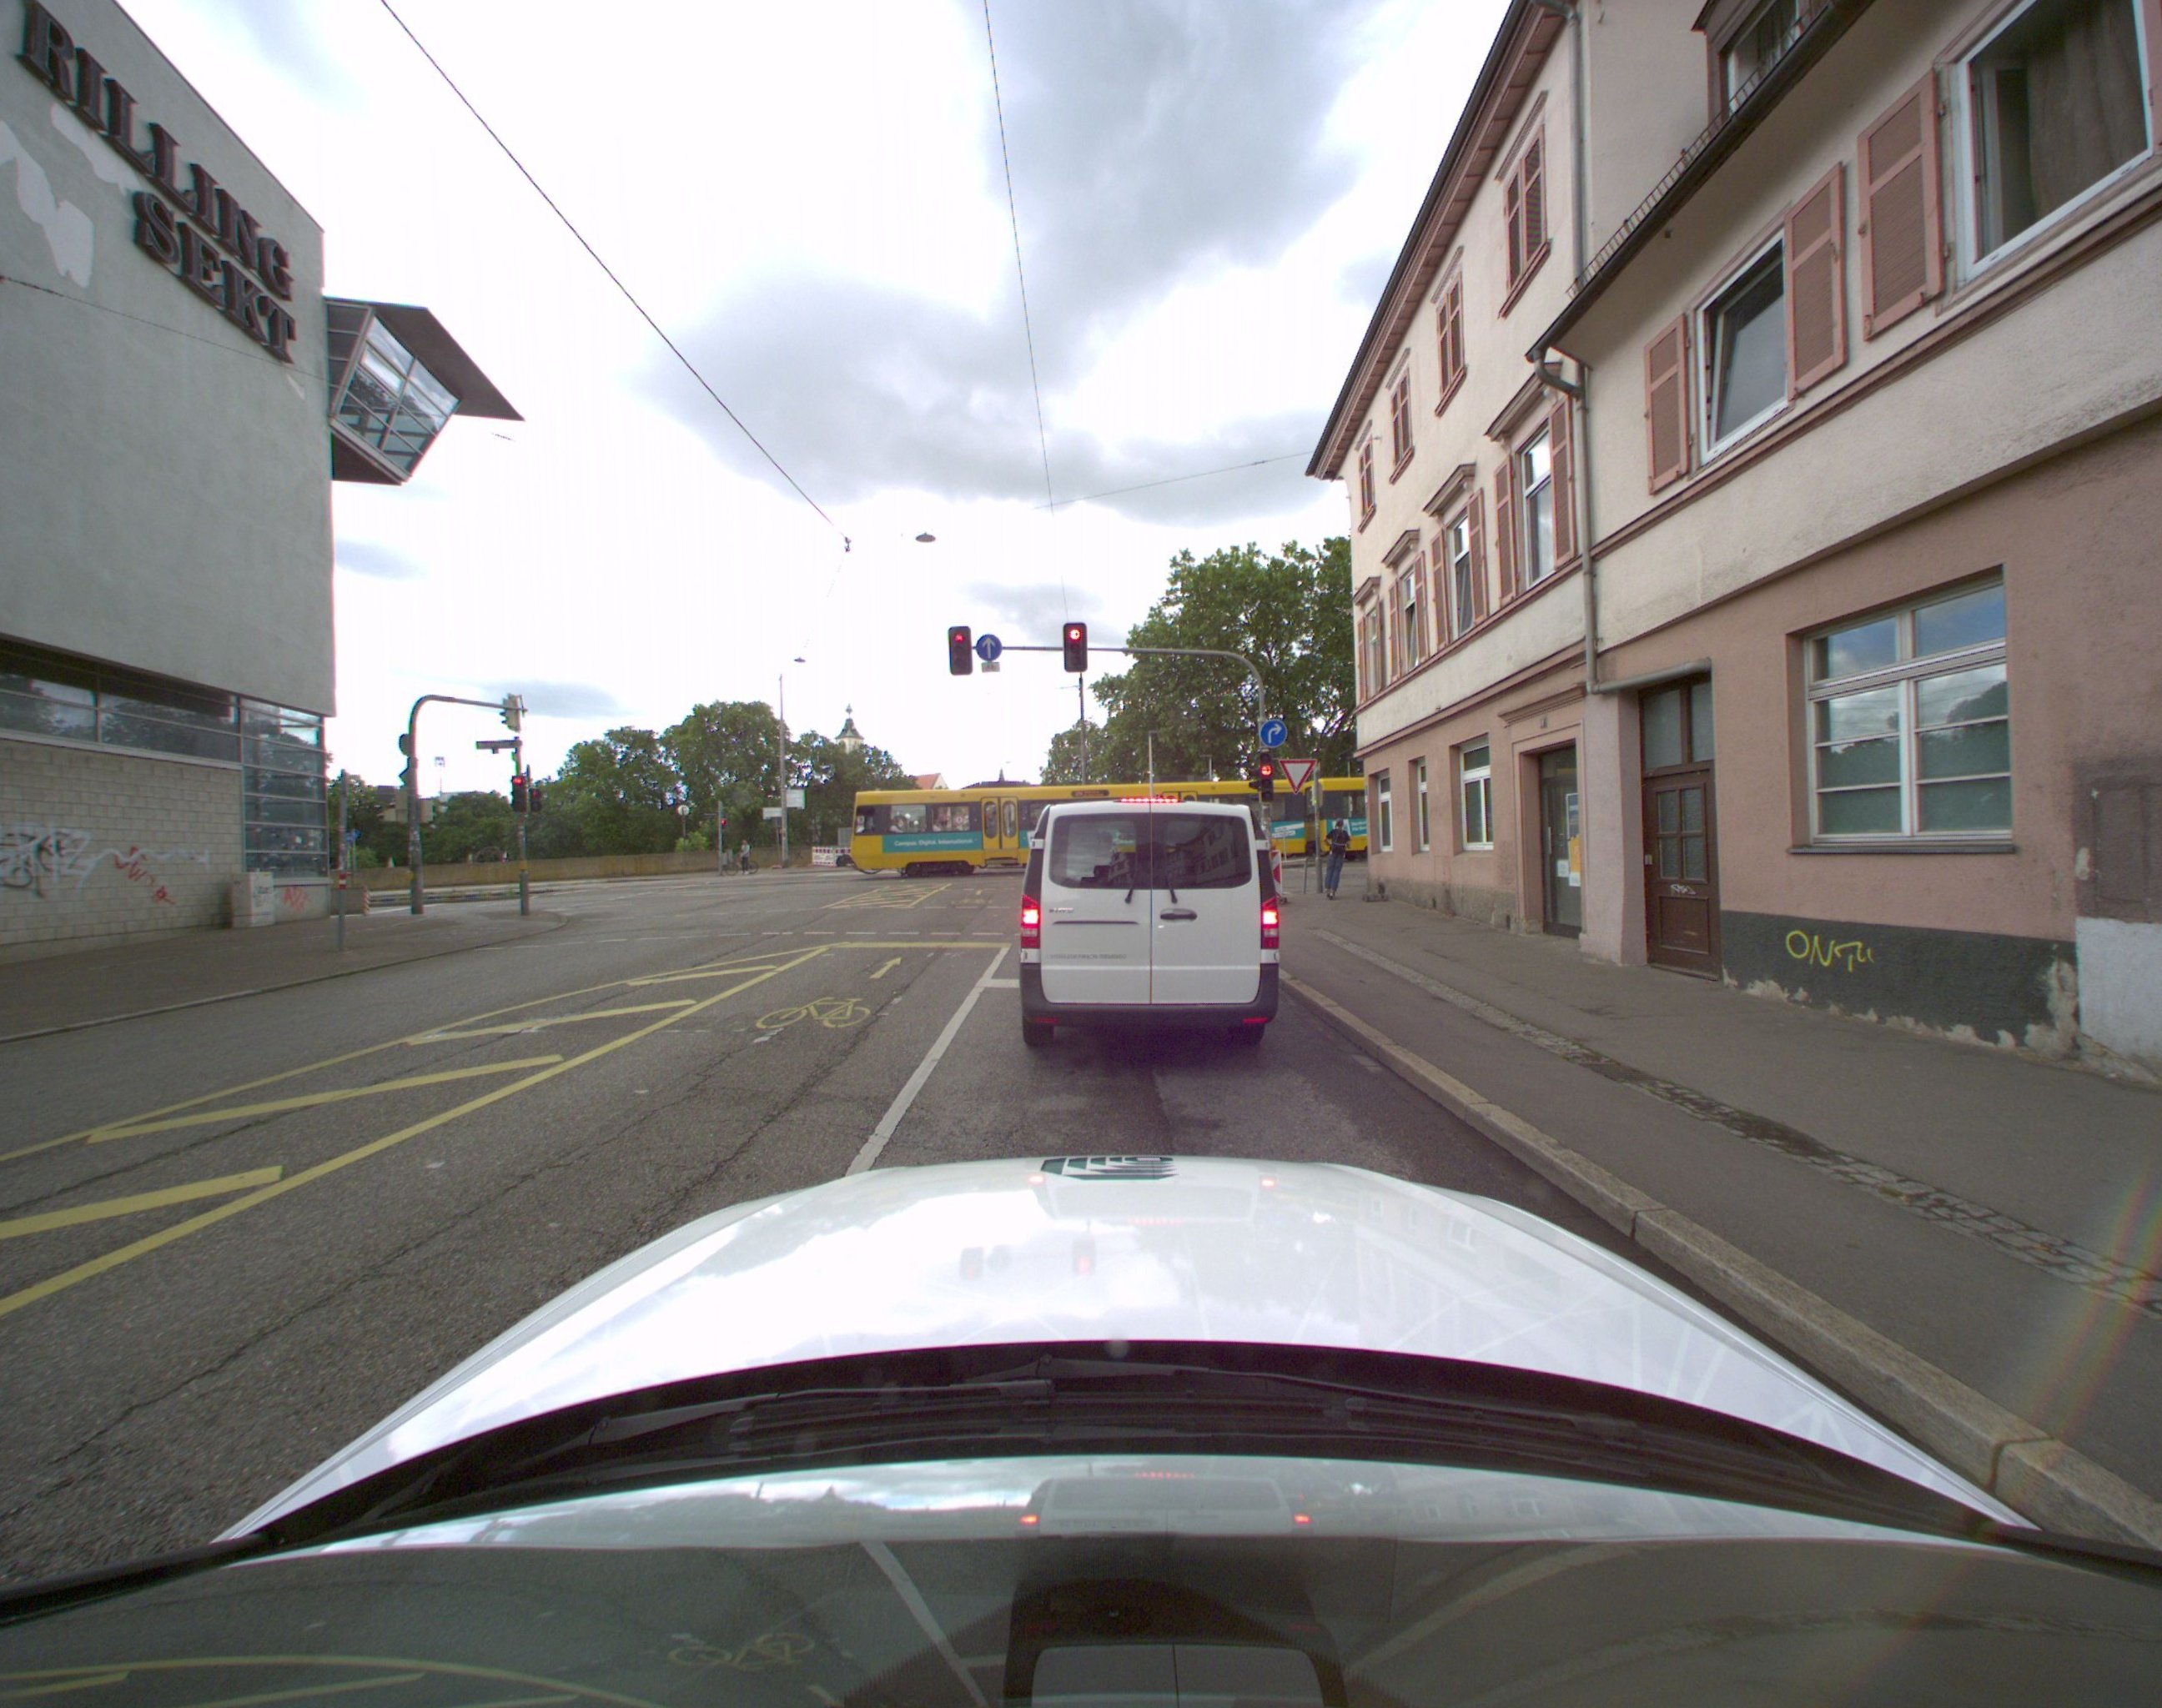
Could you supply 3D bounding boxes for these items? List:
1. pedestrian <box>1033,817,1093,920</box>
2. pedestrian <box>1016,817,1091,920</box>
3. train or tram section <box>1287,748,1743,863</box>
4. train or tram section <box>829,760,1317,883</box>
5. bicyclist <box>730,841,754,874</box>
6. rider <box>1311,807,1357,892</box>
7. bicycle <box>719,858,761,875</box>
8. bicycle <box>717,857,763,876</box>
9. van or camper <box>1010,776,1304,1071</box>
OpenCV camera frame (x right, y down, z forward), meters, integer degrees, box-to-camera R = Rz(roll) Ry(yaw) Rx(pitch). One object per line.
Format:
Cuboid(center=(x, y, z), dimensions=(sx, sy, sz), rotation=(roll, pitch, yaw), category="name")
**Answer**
Cuboid(center=(-0.354, 0.264, 15.442), dimensions=(1.006, 1.914, 0.622), rotation=(0, 0, -16), category="pedestrian")
Cuboid(center=(-0.512, 0.256, 15.371), dimensions=(1.159, 1.856, 0.671), rotation=(-3, 1, -38), category="pedestrian")
Cuboid(center=(18.674, -2.129, 35.422), dimensions=(18.737, 4.002, 3.261), rotation=(-3, 2, -5), category="train or tram section")
Cuboid(center=(-0.140, -1.400, 33.841), dimensions=(19.193, 4.002, 3.304), rotation=(-3, 2, -5), category="train or tram section")
Cuboid(center=(-18.134, 0.193, 43.575), dimensions=(1.010, 1.743, 0.746), rotation=(-2, 1, -38), category="bicyclist")
Cuboid(center=(5.750, -0.098, 18.559), dimensions=(0.715, 1.847, 0.798), rotation=(-4, 0, 1), category="rider")
Cuboid(center=(-18.162, 0.663, 43.416), dimensions=(1.962, 0.866, 0.553), rotation=(-2, 0, -42), category="bicycle")
Cuboid(center=(-18.221, 0.639, 43.516), dimensions=(2.148, 0.892, 0.752), rotation=(-2, 2, -38), category="bicycle")
Cuboid(center=(0.490, 0.431, 7.588), dimensions=(1.932, 1.924, 4.440), rotation=(0, 1, -1), category="van or camper")
